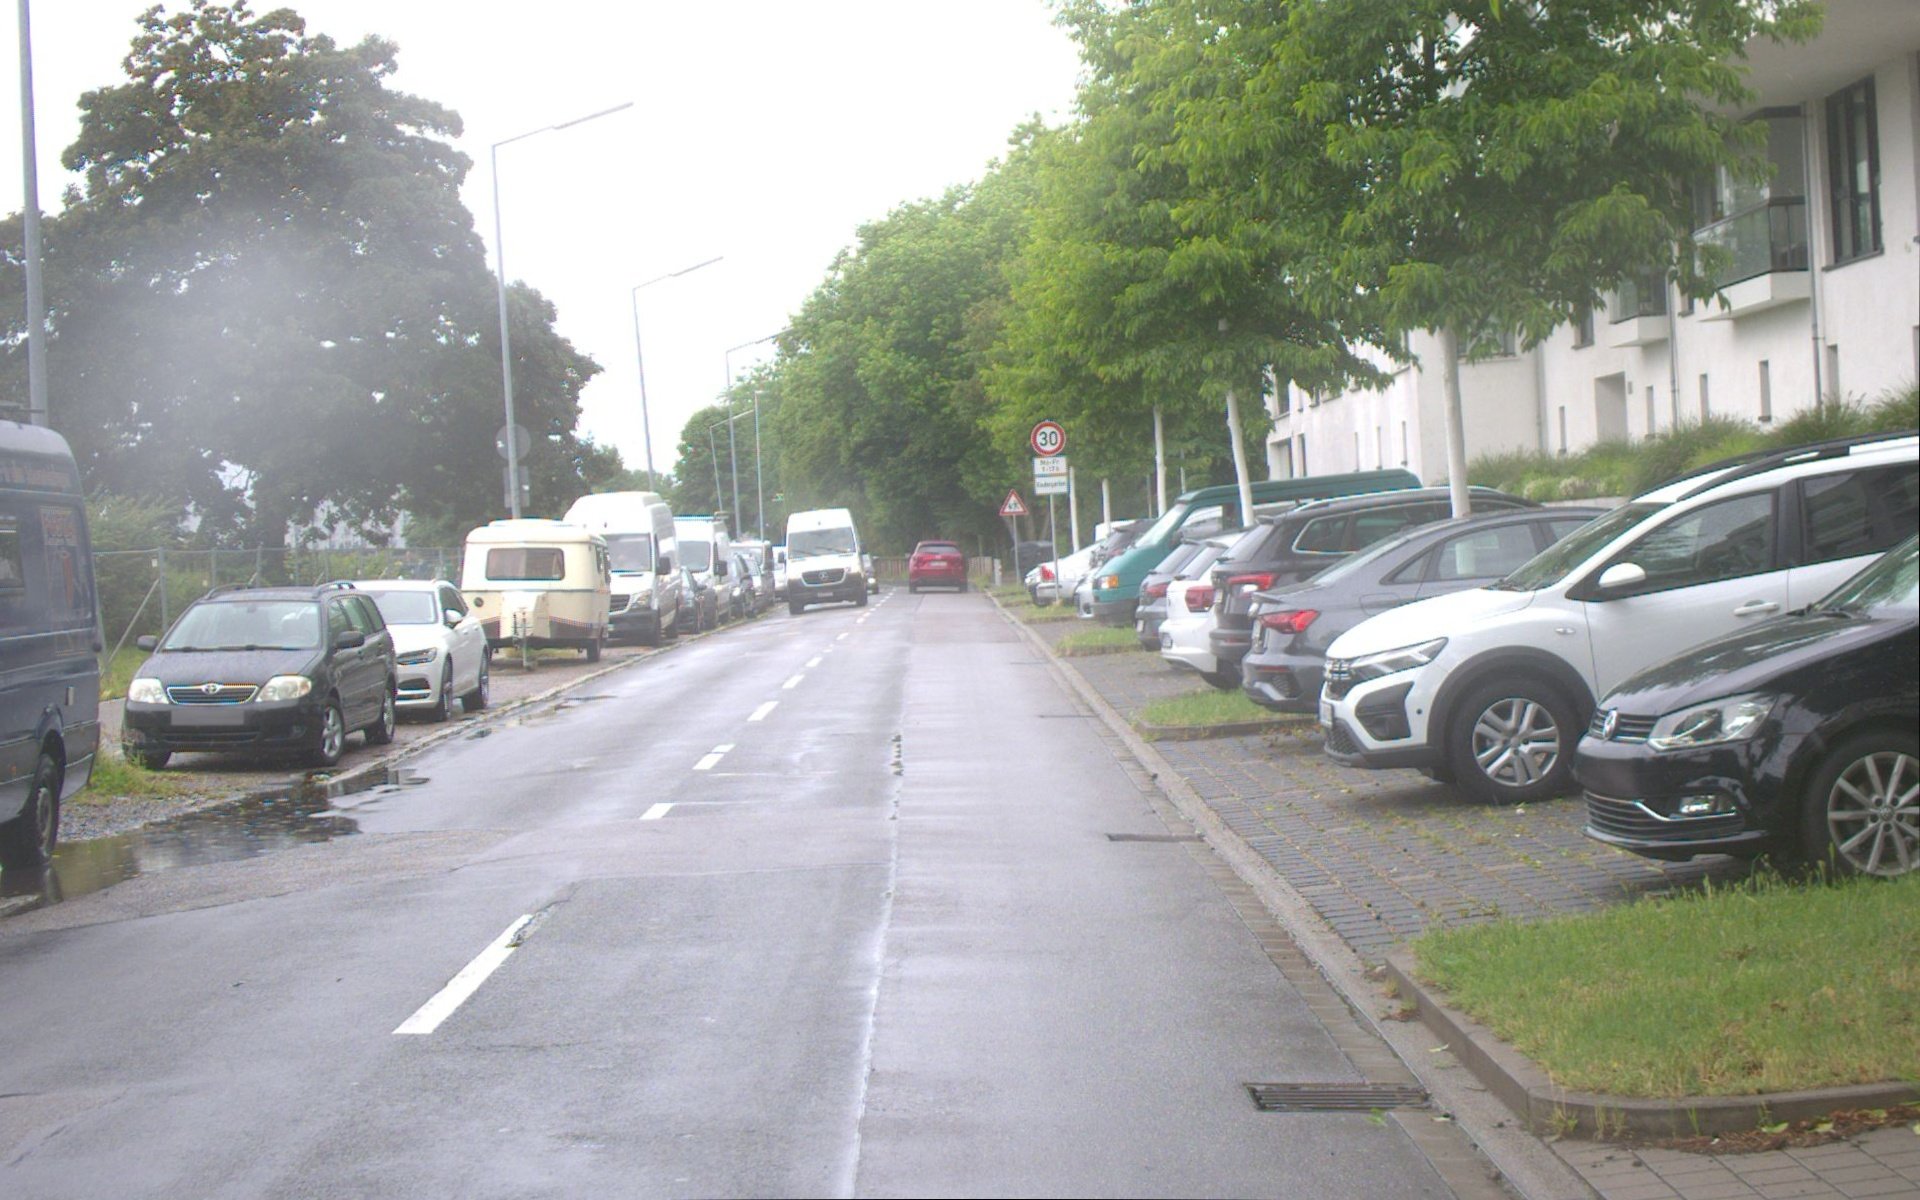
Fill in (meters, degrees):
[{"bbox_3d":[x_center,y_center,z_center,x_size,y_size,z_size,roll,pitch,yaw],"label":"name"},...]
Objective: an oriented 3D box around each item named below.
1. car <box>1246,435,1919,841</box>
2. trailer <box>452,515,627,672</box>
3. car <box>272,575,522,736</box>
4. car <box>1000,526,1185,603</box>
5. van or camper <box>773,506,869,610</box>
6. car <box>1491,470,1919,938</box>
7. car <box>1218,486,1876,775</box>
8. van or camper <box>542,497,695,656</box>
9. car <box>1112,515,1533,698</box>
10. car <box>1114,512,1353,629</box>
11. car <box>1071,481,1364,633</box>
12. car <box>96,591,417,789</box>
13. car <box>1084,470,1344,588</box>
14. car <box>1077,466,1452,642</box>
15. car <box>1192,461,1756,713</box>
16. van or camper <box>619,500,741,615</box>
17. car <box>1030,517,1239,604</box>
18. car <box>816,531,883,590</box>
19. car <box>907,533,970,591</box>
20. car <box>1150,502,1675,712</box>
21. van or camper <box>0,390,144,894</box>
[{"bbox_3d":[3.962,0.112,18.525,4.476,1.681,1.936,-7,2,-1],"label":"car"},{"bbox_3d":[-6.386,-0.137,52.817,2.058,2.210,5.795,-2,1,-2],"label":"trailer"},{"bbox_3d":[-5.916,0.531,36.699,1.887,1.520,5.110,-1,1,-1],"label":"car"},{"bbox_3d":[3.154,-0.843,82.401,4.091,1.569,1.868,-4,1,-7],"label":"car"},{"bbox_3d":[-3.617,-1.120,90.653,1.993,2.488,7.178,-4,1,1],"label":"van or camper"},{"bbox_3d":[4.284,0.204,13.185,3.987,1.490,1.937,-7,2,-3],"label":"car"},{"bbox_3d":[3.842,0.171,22.966,3.987,1.504,1.684,-5,2,0],"label":"car"},{"bbox_3d":[-6.369,-0.475,65.100,1.993,2.752,7.898,-2,1,0],"label":"van or camper"},{"bbox_3d":[3.720,0.051,35.682,4.030,1.494,1.632,-5,1,-3],"label":"car"},{"bbox_3d":[3.933,-0.435,49.722,3.254,1.477,1.317,-3,1,-1],"label":"car"},{"bbox_3d":[3.771,-0.642,50.831,4.094,1.888,1.726,-5,1,1],"label":"car"},{"bbox_3d":[-6.071,0.721,30.230,1.774,1.497,4.828,-1,1,0],"label":"car"},{"bbox_3d":[4.106,-1.147,56.010,3.882,1.675,1.864,-3,1,-5],"label":"car"},{"bbox_3d":[4.014,-0.611,45.755,4.617,2.012,1.858,-4,1,-4],"label":"car"},{"bbox_3d":[4.137,-0.118,28.147,4.161,1.619,1.898,-5,1,-2],"label":"car"},{"bbox_3d":[-6.372,-0.974,79.025,2.189,2.453,6.377,-2,1,0],"label":"van or camper"},{"bbox_3d":[3.815,-0.871,75.802,4.388,1.628,2.005,-4,1,0],"label":"car"},{"bbox_3d":[-3.576,-1.287,111.668,1.882,1.751,4.068,-4,1,1],"label":"car"},{"bbox_3d":[-0.663,-1.198,109.156,1.756,1.700,4.000,-4,1,1],"label":"car"},{"bbox_3d":[3.955,0.048,30.493,4.298,1.423,1.637,-5,1,-2],"label":"car"},{"bbox_3d":[-6.200,0.238,18.290,2.094,2.706,7.575,-1,0,-2],"label":"van or camper"}]
